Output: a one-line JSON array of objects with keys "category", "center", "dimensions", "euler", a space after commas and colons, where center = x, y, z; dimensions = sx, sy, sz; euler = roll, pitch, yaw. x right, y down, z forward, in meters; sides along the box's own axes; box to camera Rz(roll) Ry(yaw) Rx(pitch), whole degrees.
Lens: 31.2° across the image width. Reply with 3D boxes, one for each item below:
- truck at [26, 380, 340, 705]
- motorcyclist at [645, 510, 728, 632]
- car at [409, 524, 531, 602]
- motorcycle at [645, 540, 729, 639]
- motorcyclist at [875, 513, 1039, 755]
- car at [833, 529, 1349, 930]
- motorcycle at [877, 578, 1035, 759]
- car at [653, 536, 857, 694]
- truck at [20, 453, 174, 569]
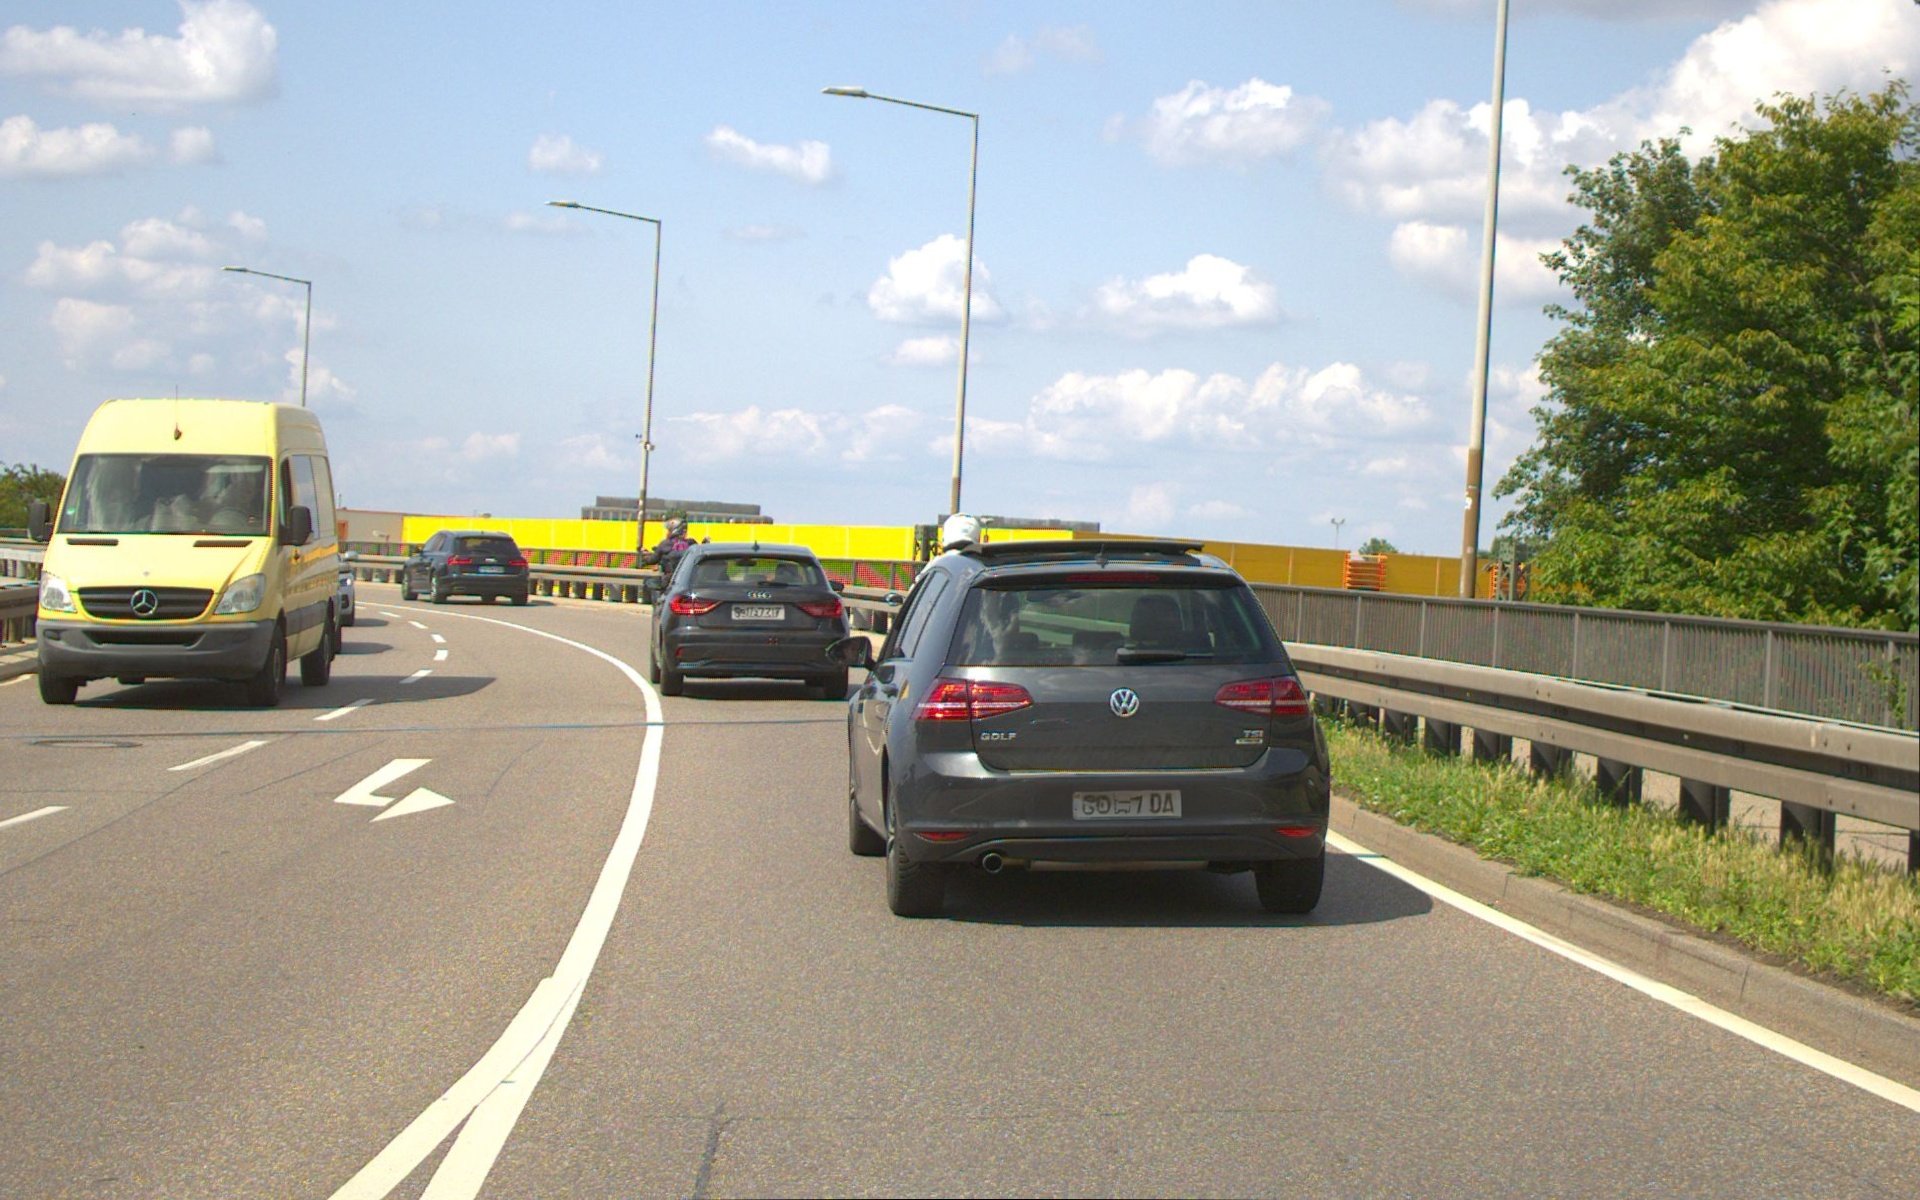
[{"category": "truck", "center": [-6.814, -0.546, 30.785], "dimensions": [1.993, 2.612, 6.105], "euler": [0, 1, -6]}, {"category": "motorcyclist", "center": [-3.688, -0.399, 46.291], "dimensions": [0.965, 1.590, 1.125], "euler": [2, 1, -10]}, {"category": "car", "center": [-9.779, -0.753, 68.426], "dimensions": [1.642, 1.474, 3.873], "euler": [1, 1, -19]}, {"category": "motorcycle", "center": [-3.678, -0.158, 46.196], "dimensions": [0.887, 1.243, 2.400], "euler": [2, 1, -9]}, {"category": "motorcyclist", "center": [-0.031, 0.223, 23.953], "dimensions": [0.965, 1.615, 1.125], "euler": [2, 1, -6]}, {"category": "car", "center": [0.426, 0.466, 14.860], "dimensions": [1.642, 1.474, 3.873], "euler": [2, 1, -6]}, {"category": "motorcycle", "center": [-0.052, 0.446, 23.851], "dimensions": [0.789, 1.128, 2.400], "euler": [2, 1, -7]}, {"category": "car", "center": [-1.979, 0.126, 32.341], "dimensions": [1.681, 1.383, 3.740], "euler": [1, 0, -7]}, {"category": "truck", "center": [-19.416, -2.012, 77.173], "dimensions": [1.993, 2.499, 5.949], "euler": [0, 2, -28]}]
